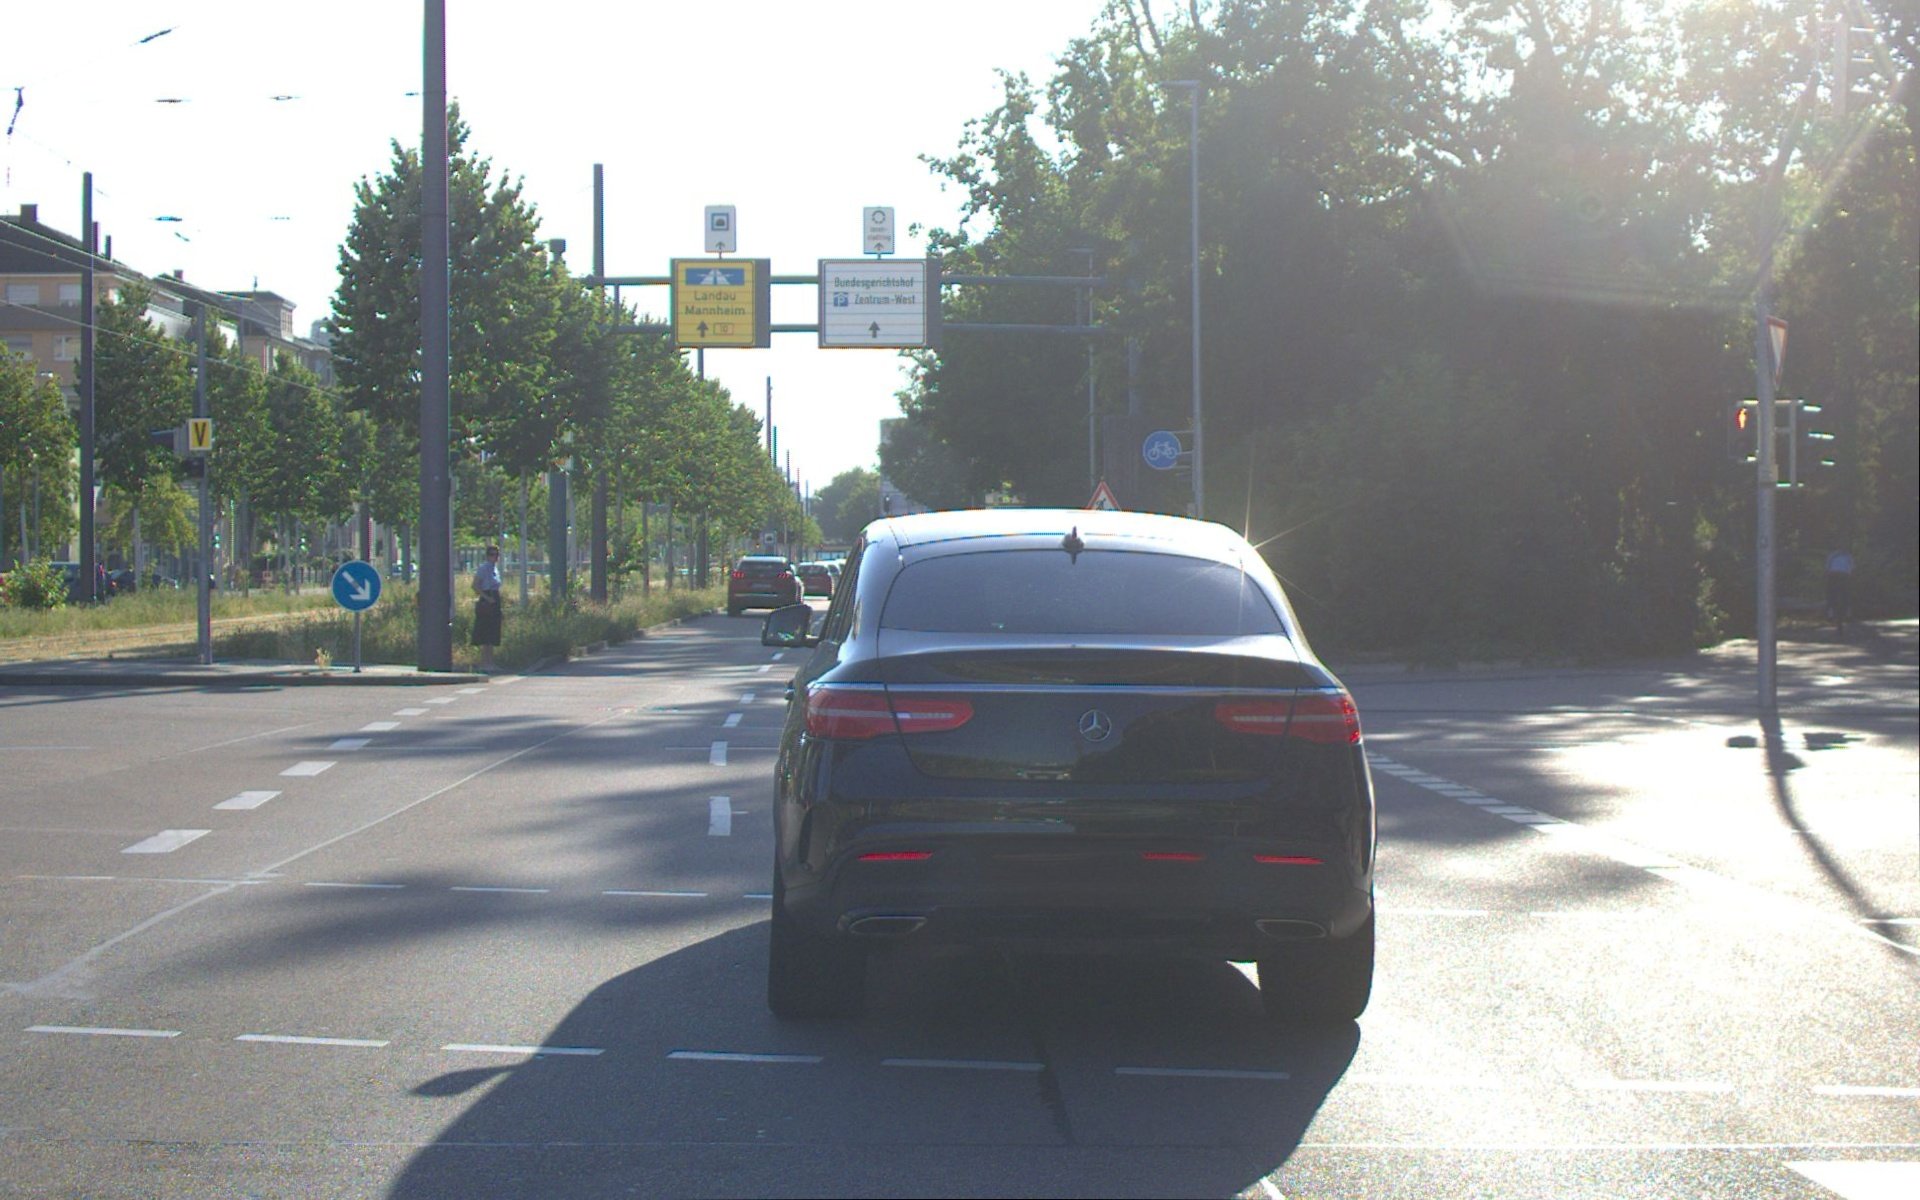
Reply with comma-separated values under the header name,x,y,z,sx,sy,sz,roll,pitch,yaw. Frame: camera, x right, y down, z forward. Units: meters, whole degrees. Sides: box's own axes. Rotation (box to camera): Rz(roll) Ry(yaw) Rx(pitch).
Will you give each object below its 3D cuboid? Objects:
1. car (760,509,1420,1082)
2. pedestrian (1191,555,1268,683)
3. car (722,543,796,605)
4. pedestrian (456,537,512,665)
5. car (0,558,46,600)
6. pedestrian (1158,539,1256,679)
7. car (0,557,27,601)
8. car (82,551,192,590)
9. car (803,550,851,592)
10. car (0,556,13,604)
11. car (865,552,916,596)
name,x,y,z,sx,sy,sz,roll,pitch,yaw
car,0.327,0.549,12.505,1.993,1.728,4.001,1,1,-2
pedestrian,3.509,0.241,44.824,0.766,1.631,0.770,-2,1,-11
car,-5.408,-0.712,93.002,1.885,1.575,4.001,1,1,-2
pedestrian,-6.349,0.012,45.911,0.598,1.693,0.714,0,1,4
car,-34.890,-0.764,122.888,1.785,1.448,3.990,2,1,41
pedestrian,3.274,0.116,45.622,0.857,1.796,0.907,-3,1,-36
car,-34.636,-0.785,120.037,3.615,1.518,1.620,2,0,-42
car,-34.697,-1.237,144.983,3.989,1.557,1.999,0,1,-43
car,-5.380,-1.174,138.790,1.885,1.575,4.001,1,1,-2
car,-34.402,-0.749,116.422,4.084,1.595,1.749,2,1,-42
car,-2.668,-1.014,131.185,1.885,1.575,4.001,1,1,-2
